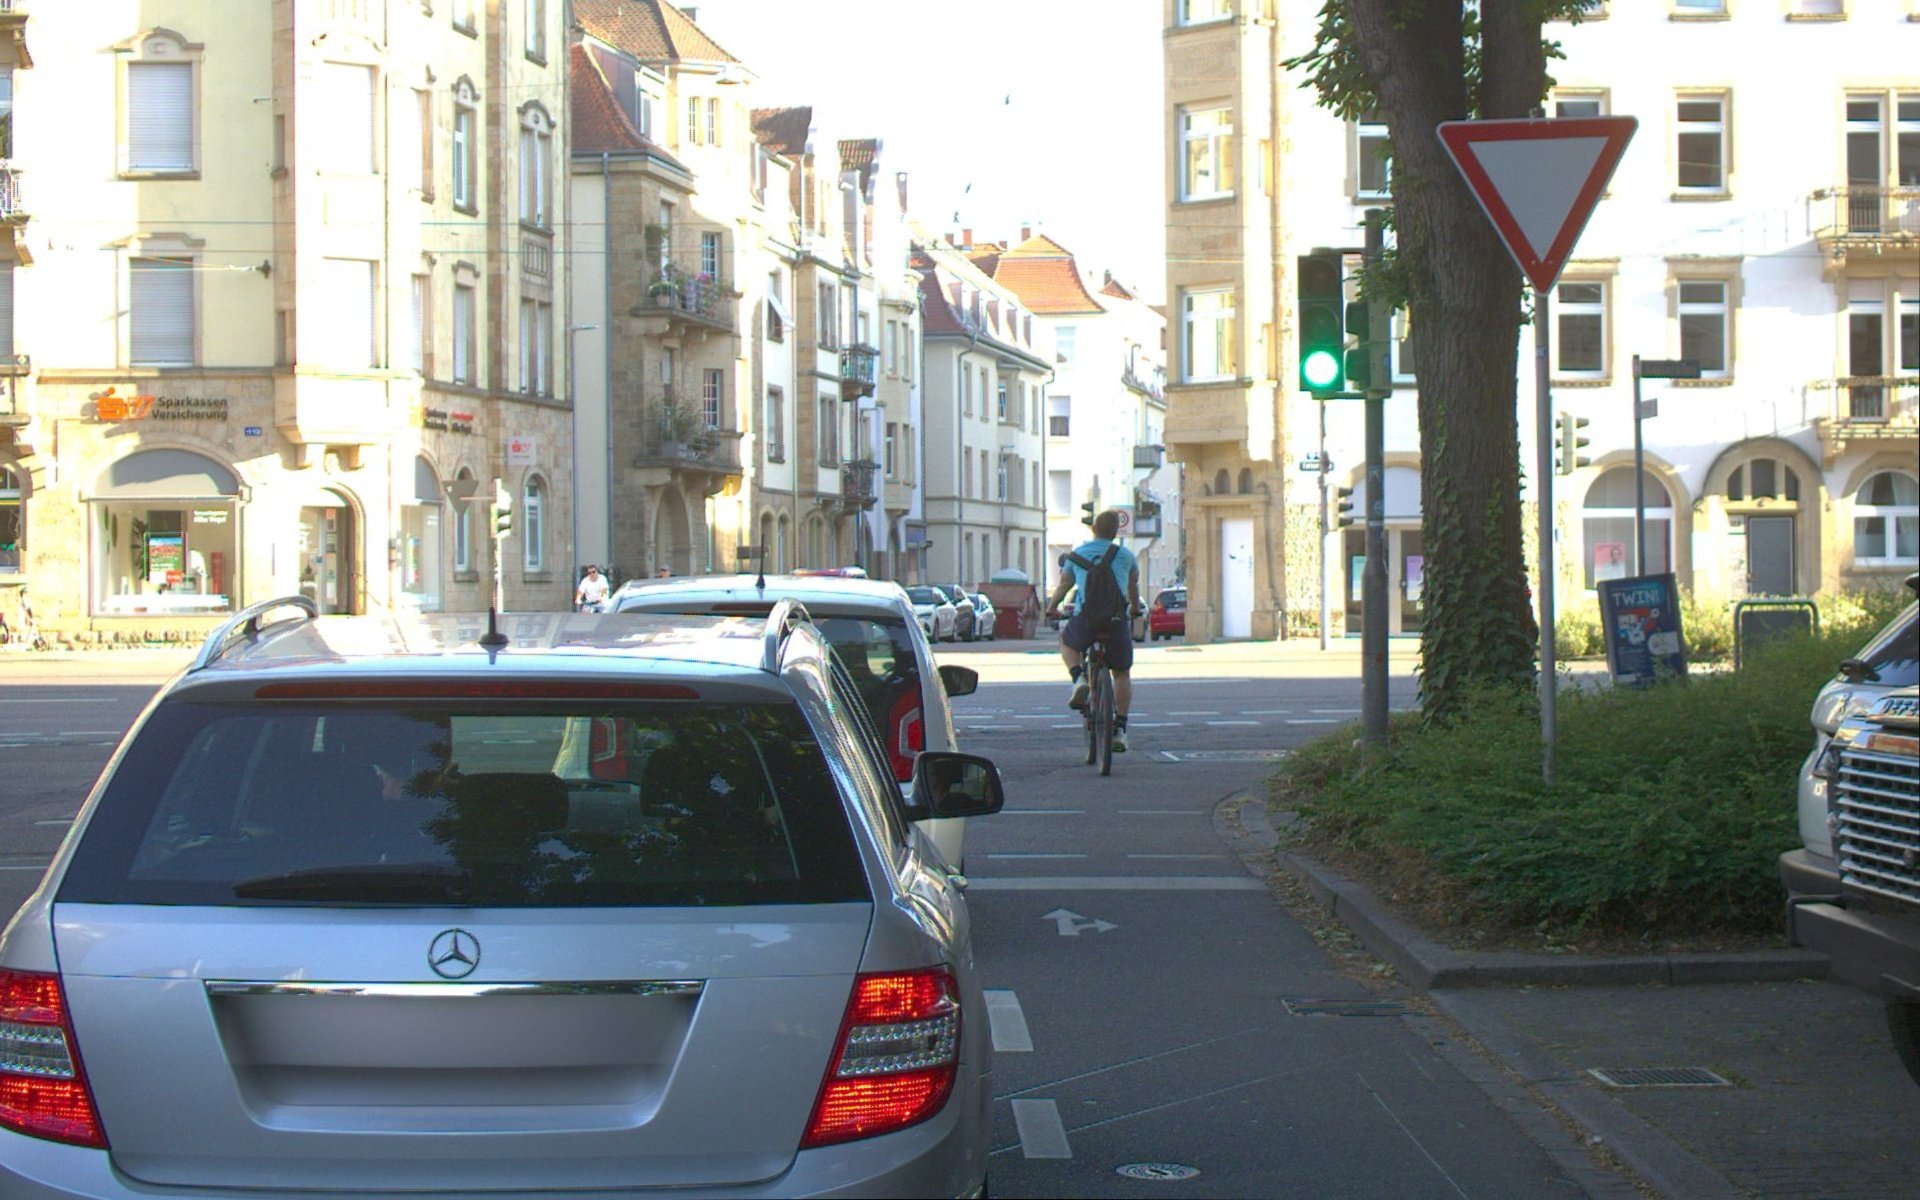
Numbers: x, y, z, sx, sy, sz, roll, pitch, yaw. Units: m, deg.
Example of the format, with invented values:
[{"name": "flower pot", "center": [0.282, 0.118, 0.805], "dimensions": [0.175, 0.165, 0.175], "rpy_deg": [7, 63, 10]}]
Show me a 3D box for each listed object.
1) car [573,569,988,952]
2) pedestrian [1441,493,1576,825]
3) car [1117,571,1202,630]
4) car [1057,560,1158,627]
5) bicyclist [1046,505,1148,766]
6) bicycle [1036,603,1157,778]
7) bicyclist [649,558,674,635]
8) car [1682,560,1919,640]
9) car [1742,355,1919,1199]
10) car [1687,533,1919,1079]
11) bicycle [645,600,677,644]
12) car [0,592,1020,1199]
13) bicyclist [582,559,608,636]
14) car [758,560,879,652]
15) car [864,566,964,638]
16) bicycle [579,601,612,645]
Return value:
[{"name": "car", "center": [-0.712, 0.582, 14.558], "dimensions": [1.533, 1.386, 3.599], "rpy_deg": [0, 1, -1]}, {"name": "pedestrian", "center": [3.075, 0.323, 19.323], "dimensions": [0.631, 1.838, 0.575], "rpy_deg": [0, 1, -4]}, {"name": "car", "center": [5.820, 0.003, 99.994], "dimensions": [1.722, 1.473, 3.998], "rpy_deg": [-4, 0, 13]}, {"name": "car", "center": [3.624, -0.171, 83.811], "dimensions": [1.722, 1.473, 3.998], "rpy_deg": [-2, 1, 13]}, {"name": "bicyclist", "center": [0.943, 0.238, 23.797], "dimensions": [0.646, 1.769, 0.831], "rpy_deg": [1, 0, 0]}, {"name": "bicycle", "center": [0.928, 0.600, 23.776], "dimensions": [0.742, 1.114, 2.013], "rpy_deg": [1, 1, 0]}, {"name": "bicyclist", "center": [-5.937, -0.075, 68.311], "dimensions": [0.466, 1.516, 0.694], "rpy_deg": [0, 1, -3]}, {"name": "car", "center": [11.804, -0.005, 47.456], "dimensions": [3.364, 1.065, 1.380], "rpy_deg": [0, 1, -1]}, {"name": "car", "center": [4.345, 0.342, 8.114], "dimensions": [4.490, 1.949, 1.793], "rpy_deg": [-2, 1, -2]}, {"name": "car", "center": [4.312, 0.545, 11.025], "dimensions": [3.480, 1.581, 1.711], "rpy_deg": [-2, 1, -6]}, {"name": "bicycle", "center": [-5.938, 0.431, 68.307], "dimensions": [0.568, 0.832, 1.566], "rpy_deg": [0, 1, -3]}, {"name": "car", "center": [-0.840, 0.728, 6.898], "dimensions": [1.690, 1.424, 3.493], "rpy_deg": [1, 1, -2]}, {"name": "bicyclist", "center": [-7.187, -0.060, 67.688], "dimensions": [0.466, 1.509, 0.655], "rpy_deg": [0, 1, -3]}, {"name": "car", "center": [-3.106, 0.110, 76.398], "dimensions": [1.938, 1.952, 4.149], "rpy_deg": [0, 1, 8]}, {"name": "car", "center": [-1.117, 0.036, 85.183], "dimensions": [1.687, 1.716, 3.998], "rpy_deg": [0, 1, 11]}, {"name": "bicycle", "center": [-7.181, 0.449, 67.729], "dimensions": [0.568, 0.832, 1.566], "rpy_deg": [0, 1, -3]}]
